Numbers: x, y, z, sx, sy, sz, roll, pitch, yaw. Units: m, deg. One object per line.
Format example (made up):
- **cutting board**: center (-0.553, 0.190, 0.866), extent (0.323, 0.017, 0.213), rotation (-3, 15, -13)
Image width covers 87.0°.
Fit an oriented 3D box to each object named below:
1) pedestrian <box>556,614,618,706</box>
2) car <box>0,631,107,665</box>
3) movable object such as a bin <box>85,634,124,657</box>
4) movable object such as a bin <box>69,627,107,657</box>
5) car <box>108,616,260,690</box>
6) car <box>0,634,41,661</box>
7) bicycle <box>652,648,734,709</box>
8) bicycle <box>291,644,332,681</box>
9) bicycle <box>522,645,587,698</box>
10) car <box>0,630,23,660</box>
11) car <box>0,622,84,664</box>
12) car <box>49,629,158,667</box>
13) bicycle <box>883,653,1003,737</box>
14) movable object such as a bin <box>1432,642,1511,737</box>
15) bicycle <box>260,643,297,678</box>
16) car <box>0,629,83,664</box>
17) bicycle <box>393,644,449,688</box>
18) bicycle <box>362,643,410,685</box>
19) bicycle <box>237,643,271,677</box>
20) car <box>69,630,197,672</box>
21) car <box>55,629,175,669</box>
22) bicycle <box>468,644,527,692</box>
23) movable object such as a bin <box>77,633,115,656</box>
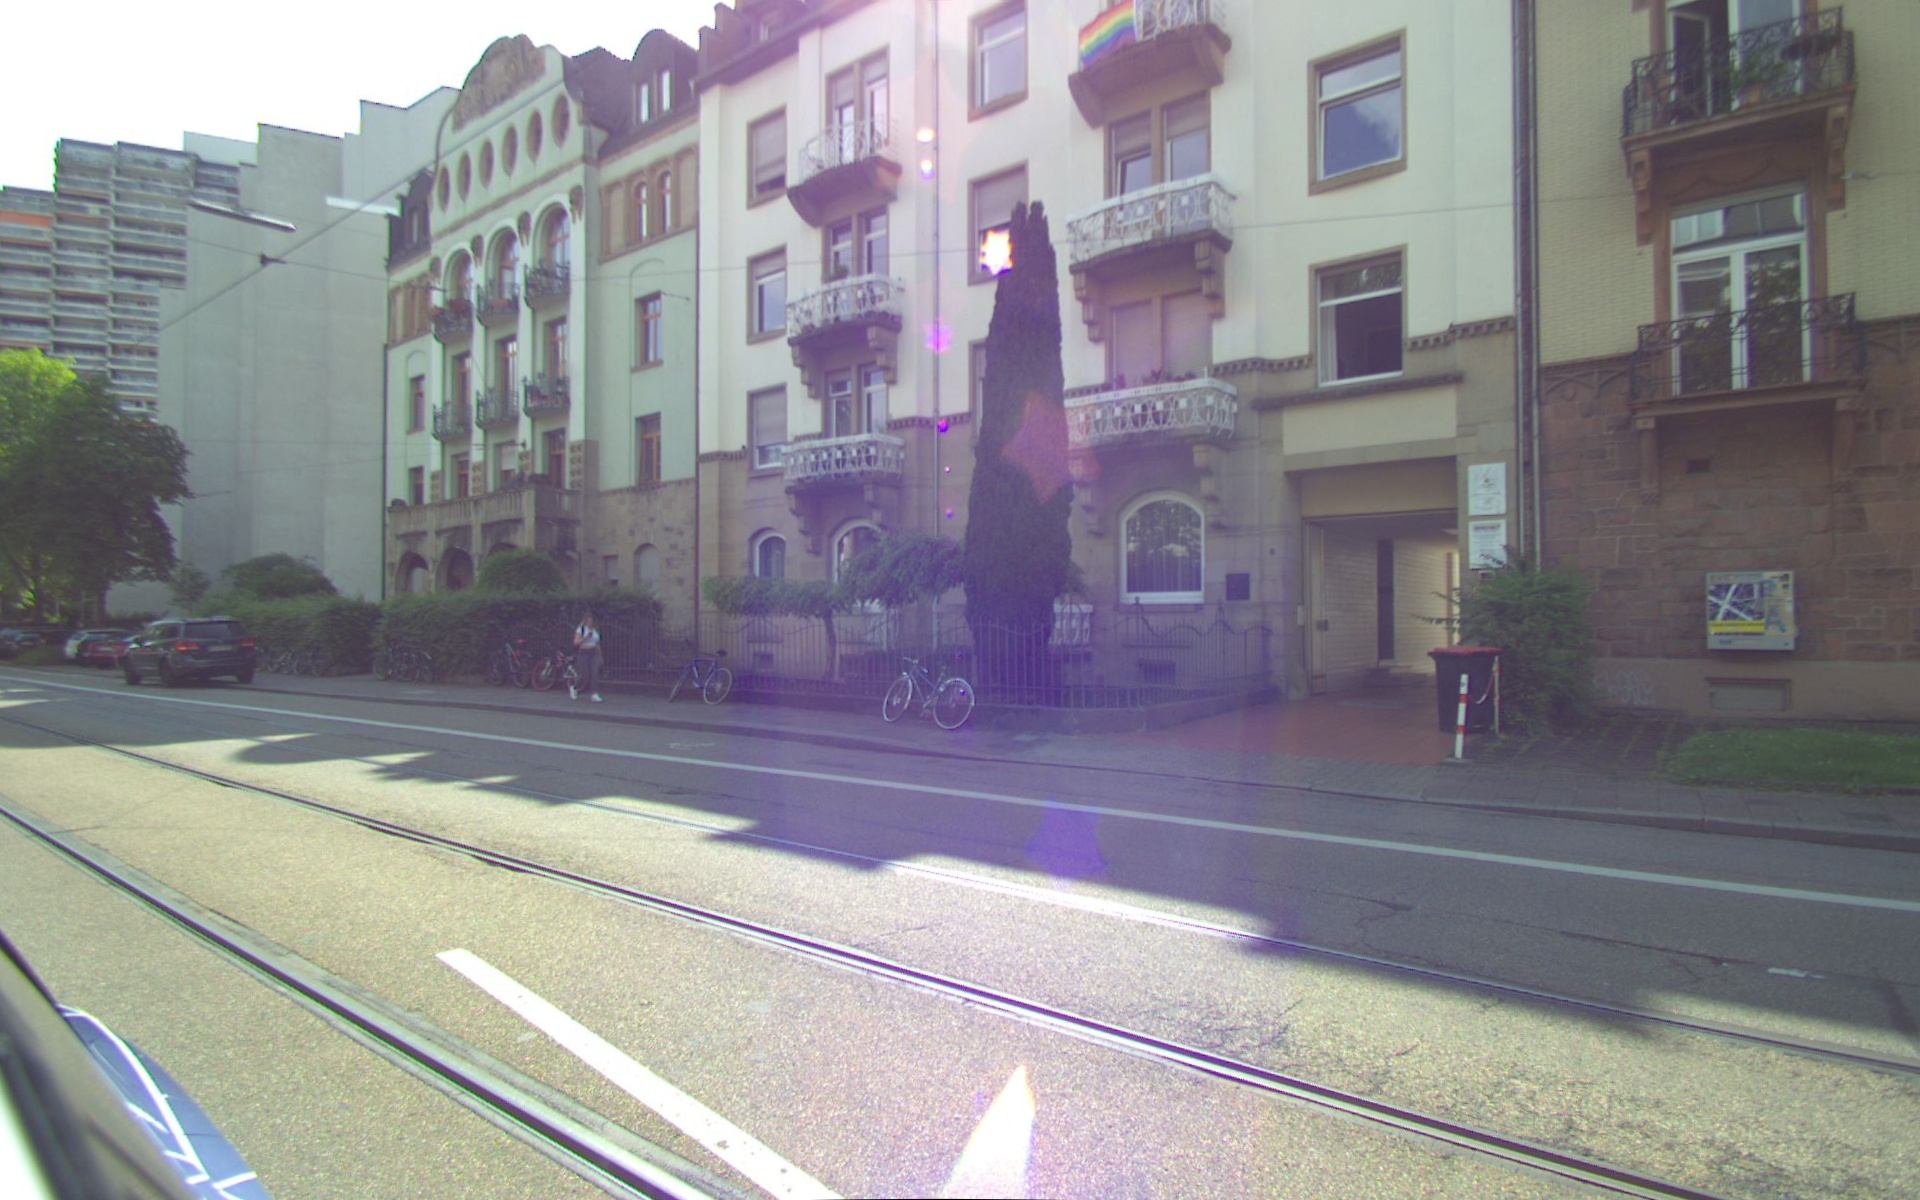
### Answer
- **pedestrian**: center (-6.731, 1.060, 18.257), extent (0.881, 1.580, 0.673), rotation (-1, 0, 40)
- **car**: center (-41.850, 2.242, 46.720), extent (1.714, 1.495, 4.004), rotation (1, -3, -5)
- **movable object such as a bin**: center (-52.575, 2.789, 62.180), extent (1.535, 1.374, 1.375), rotation (-1, -5, 34)
- **movable object such as a bin**: center (-55.317, 2.654, 64.200), extent (1.535, 1.795, 1.375), rotation (-1, -5, 34)
- **car**: center (-20.161, 1.343, 26.239), extent (4.872, 1.776, 1.769), rotation (-2, -2, 36)
- **car**: center (-51.731, 2.524, 54.193), extent (1.732, 1.428, 4.007), rotation (2, -3, -8)
- **bicycle**: center (-4.578, 1.322, 17.274), extent (1.704, 0.966, 0.422), rotation (-2, -1, 40)
- **bicycle**: center (-17.860, 1.694, 27.844), extent (1.919, 0.966, 0.379), rotation (-2, -1, 40)
- **bicycle**: center (-8.026, 1.400, 19.997), extent (1.799, 0.983, 0.379), rotation (-2, -1, 40)
- **car**: center (-54.326, 2.469, 55.982), extent (1.733, 1.706, 3.720), rotation (1, -3, -6)
- **car**: center (-46.784, 2.182, 50.636), extent (1.886, 1.969, 5.177), rotation (2, -3, -8)
- **car**: center (-36.148, 2.055, 42.843), extent (1.671, 1.495, 3.813), rotation (2, -3, -8)
- **bicycle**: center (-0.261, 1.261, 13.774), extent (1.816, 0.966, 0.505), rotation (1, 2, 45)
- **movable object such as a bin**: center (6.285, 1.080, 12.451), extent (0.587, 1.077, 0.609), rotation (-2, 1, -18)
- **bicycle**: center (-19.821, 1.756, 29.420), extent (1.808, 0.966, 0.379), rotation (-2, -1, 40)
- **car**: center (-44.360, 2.228, 48.368), extent (1.714, 1.605, 4.005), rotation (1, -3, -7)
- **bicycle**: center (-12.603, 1.524, 23.645), extent (1.798, 0.966, 0.447), rotation (-2, -1, 37)
- **bicycle**: center (-14.219, 1.568, 25.042), extent (1.919, 0.966, 0.379), rotation (-2, -1, 40)
- **bicycle**: center (-21.449, 1.814, 30.729), extent (1.808, 0.966, 0.379), rotation (-2, -1, 40)
- **car**: center (-31.477, 1.958, 38.669), extent (1.818, 1.495, 3.975), rotation (1, -3, -5)
- **car**: center (-33.839, 2.006, 40.665), extent (1.673, 1.495, 3.808), rotation (1, -3, -2)
- **bicycle**: center (-9.899, 1.440, 21.630), extent (1.799, 0.966, 0.379), rotation (-2, -1, 40)
- **movable object such as a bin**: center (-53.915, 2.787, 63.151), extent (1.535, 1.374, 1.375), rotation (-1, -5, 34)
